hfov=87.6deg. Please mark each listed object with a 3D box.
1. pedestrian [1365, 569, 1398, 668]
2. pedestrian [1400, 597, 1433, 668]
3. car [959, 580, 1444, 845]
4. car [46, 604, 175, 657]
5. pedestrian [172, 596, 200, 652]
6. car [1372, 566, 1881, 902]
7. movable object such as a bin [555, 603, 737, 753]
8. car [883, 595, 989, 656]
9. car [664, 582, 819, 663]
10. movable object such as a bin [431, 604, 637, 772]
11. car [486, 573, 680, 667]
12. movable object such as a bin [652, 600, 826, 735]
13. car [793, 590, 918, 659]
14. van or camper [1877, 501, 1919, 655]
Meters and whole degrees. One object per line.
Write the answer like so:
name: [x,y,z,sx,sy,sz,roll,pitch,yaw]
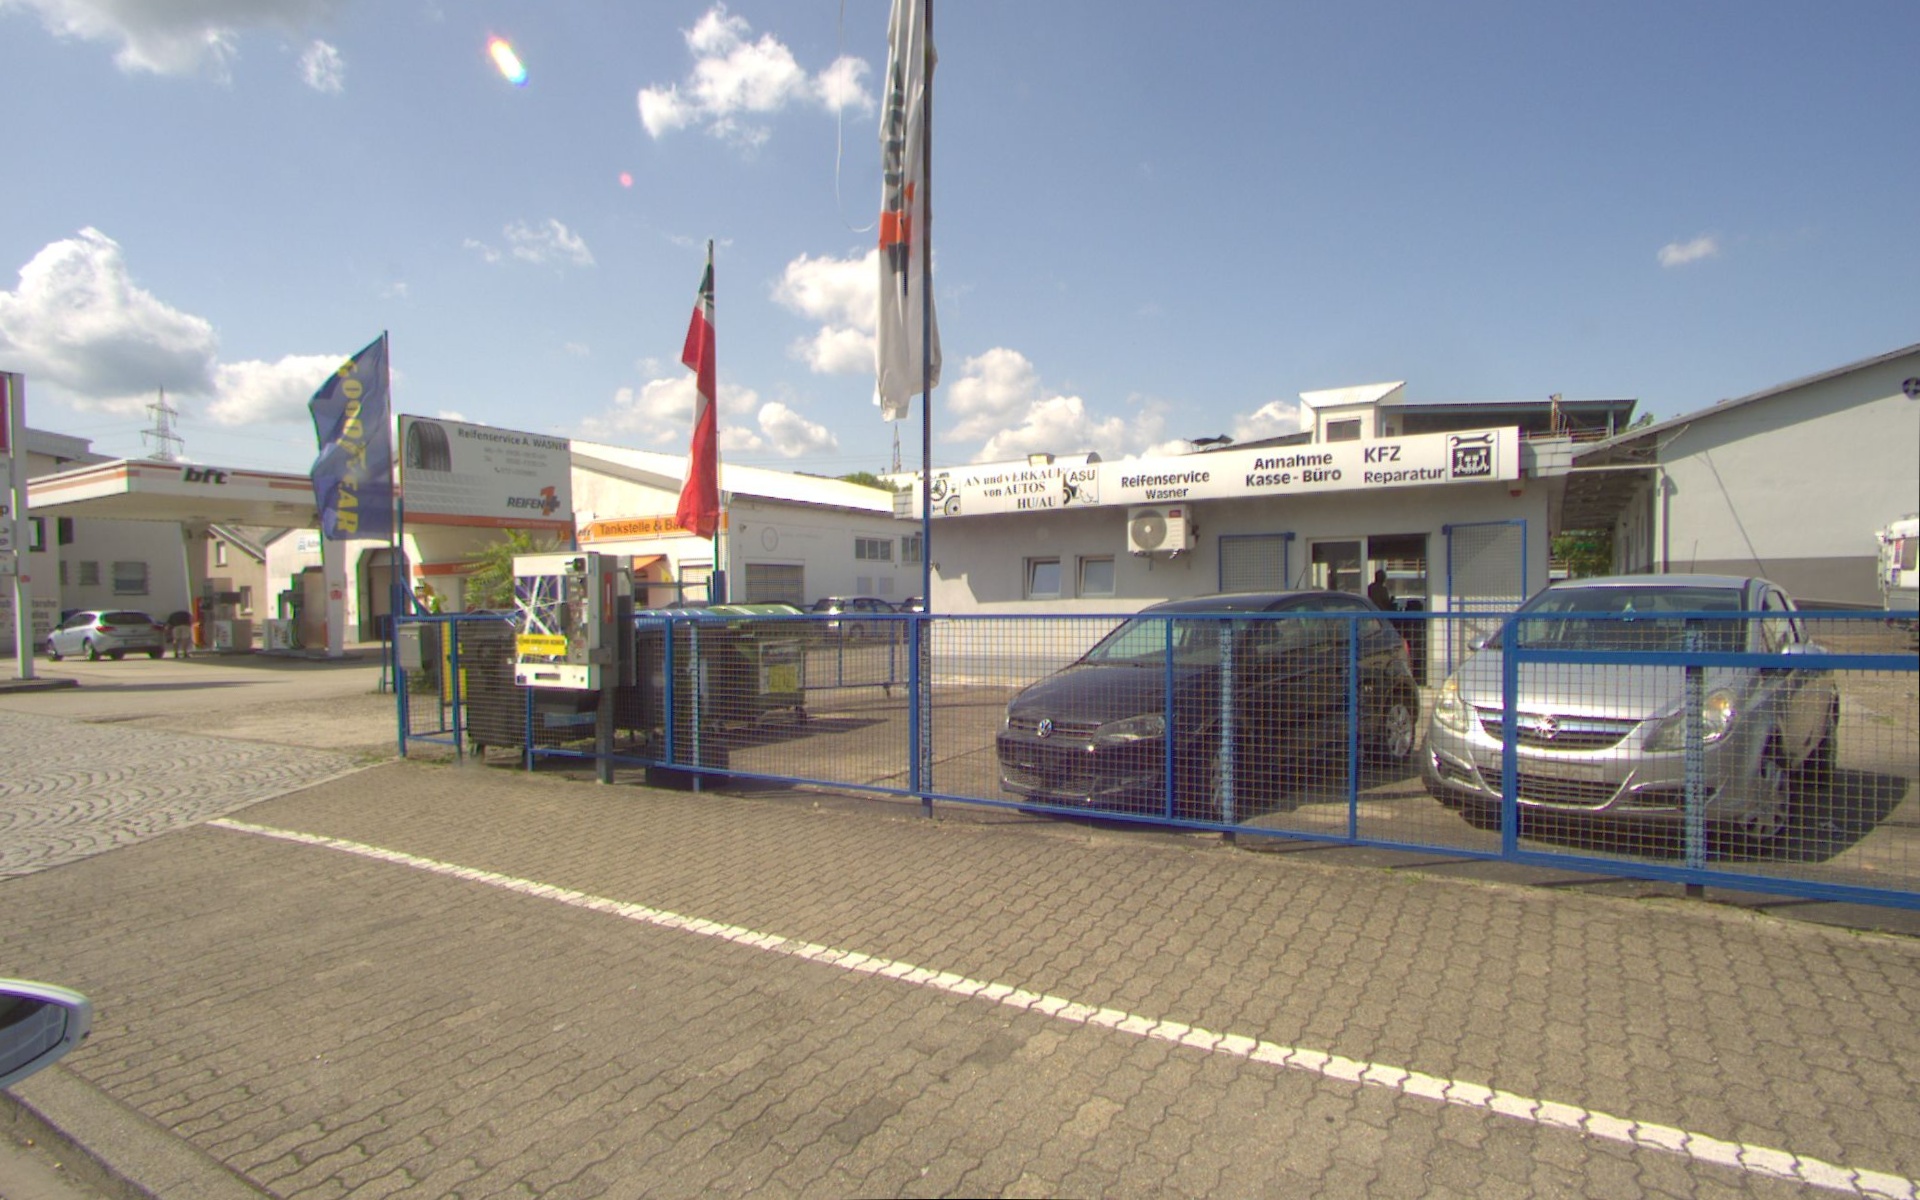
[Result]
pedestrian: [7.414,0.325,17.605,0.480,1.710,0.499,0,1,30]
pedestrian: [7.984,0.561,17.525,0.480,1.229,0.499,0,1,30]
car: [2.020,0.626,7.647,3.962,1.499,1.705,-1,1,-43]
car: [-25.830,0.888,30.432,3.950,1.499,1.829,-1,1,31]
pedestrian: [-23.736,0.728,30.713,0.628,1.705,0.618,-1,1,-36]
car: [4.507,0.586,6.511,4.104,1.499,1.787,-1,0,-42]
movable object such as a bin: [-3.366,0.774,10.784,1.434,1.473,1.224,0,1,31]
car: [-0.801,0.862,35.876,1.971,2.040,3.979,0,0,32]
car: [-5.944,0.570,27.635,1.971,2.040,3.979,0,0,32]
movable object such as a bin: [-4.127,0.783,9.744,1.434,1.473,1.224,0,1,31]
car: [-8.909,0.434,23.980,1.971,2.040,3.979,0,0,32]
movable object such as a bin: [-2.601,0.742,11.899,1.433,1.473,1.427,0,1,31]
car: [-3.260,0.727,31.986,1.971,2.040,3.979,0,0,32]
van or camper: [21.352,-0.459,19.321,4.983,3.002,2.276,0,1,31]
